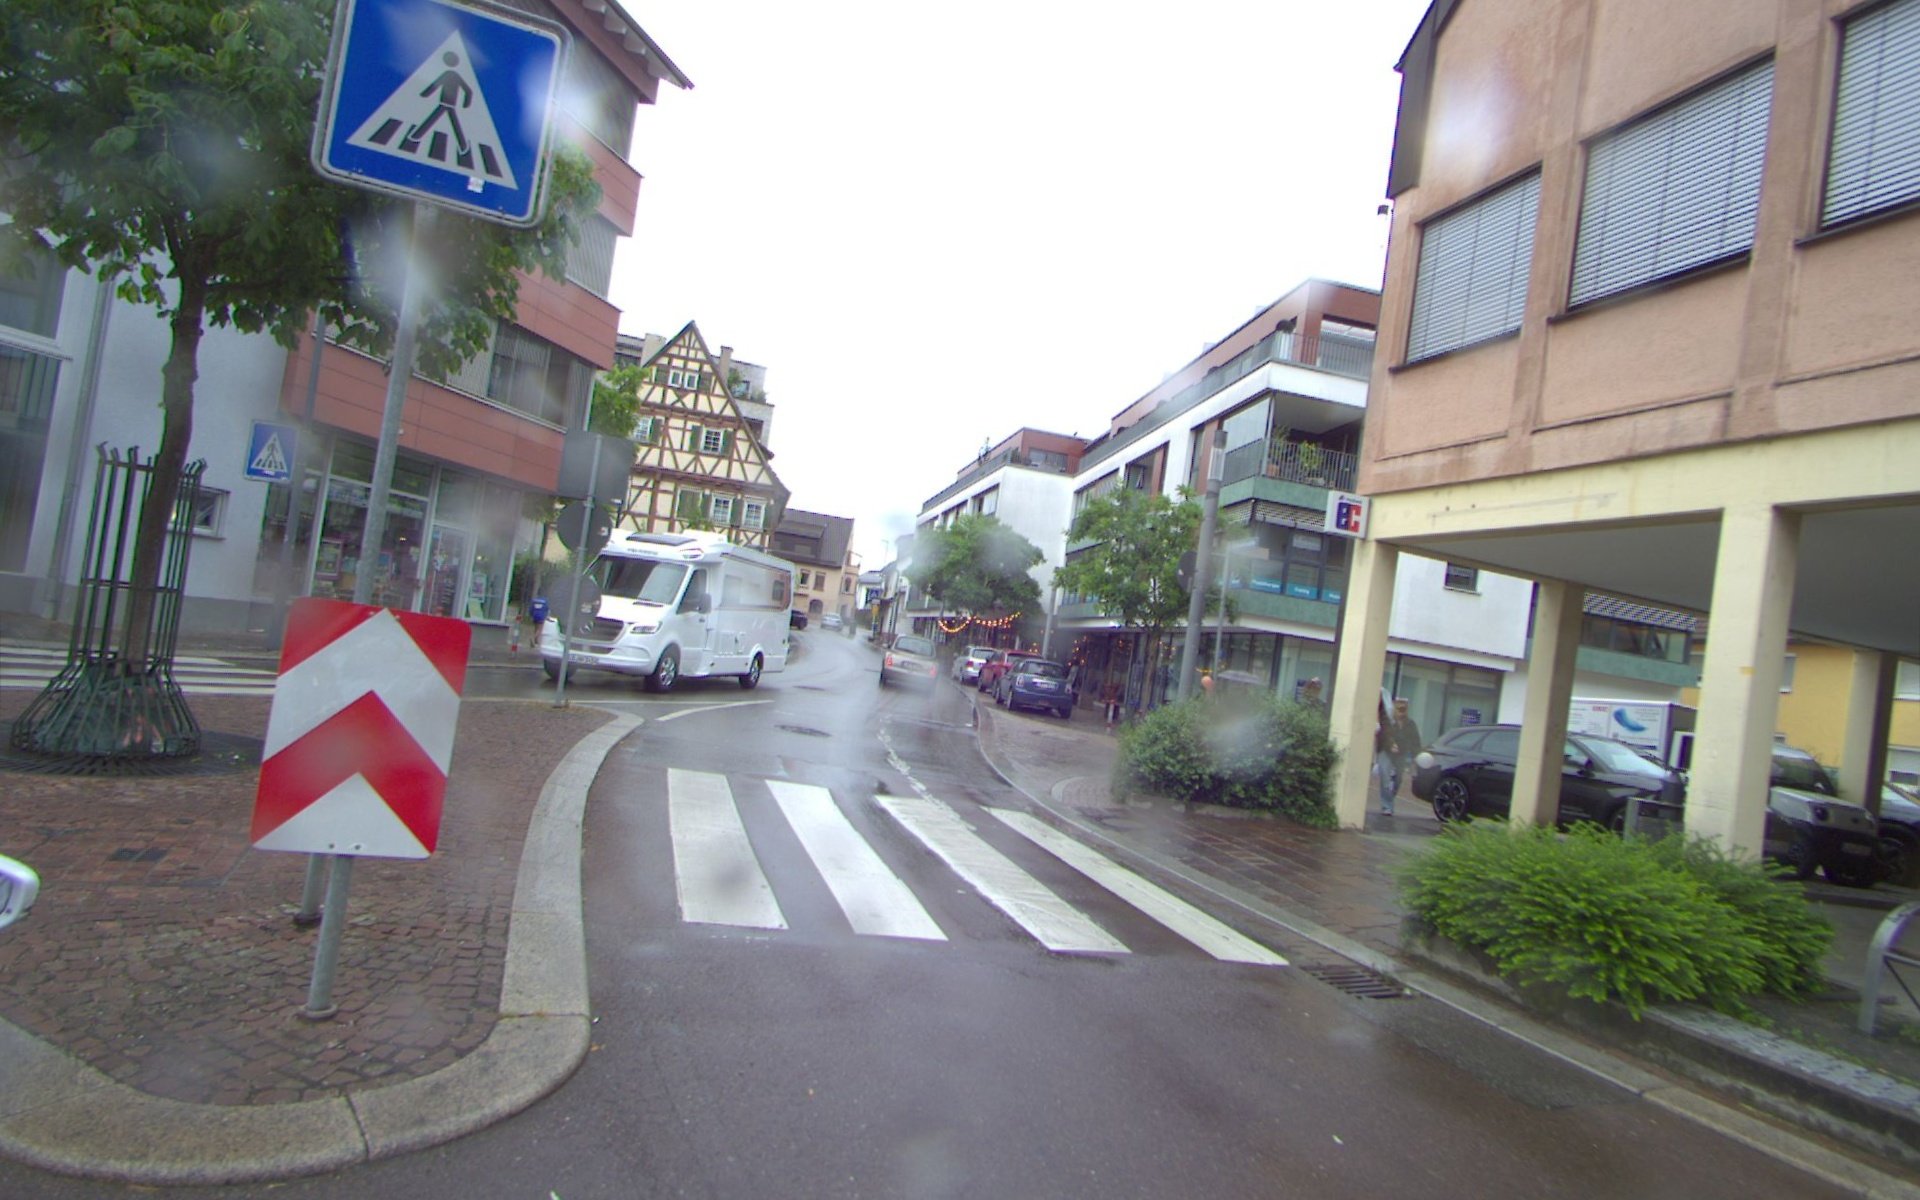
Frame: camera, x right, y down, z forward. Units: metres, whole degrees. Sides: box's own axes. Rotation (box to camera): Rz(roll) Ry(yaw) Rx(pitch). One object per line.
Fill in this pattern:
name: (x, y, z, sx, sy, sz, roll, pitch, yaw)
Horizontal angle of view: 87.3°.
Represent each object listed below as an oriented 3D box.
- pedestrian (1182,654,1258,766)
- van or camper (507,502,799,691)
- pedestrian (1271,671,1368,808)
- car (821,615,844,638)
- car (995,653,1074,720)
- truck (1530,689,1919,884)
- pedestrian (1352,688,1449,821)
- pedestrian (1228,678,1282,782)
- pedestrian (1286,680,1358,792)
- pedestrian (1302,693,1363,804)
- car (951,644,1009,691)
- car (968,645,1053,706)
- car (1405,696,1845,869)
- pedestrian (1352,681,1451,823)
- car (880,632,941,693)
pedestrian: (4.470, 1.874, 17.354, 0.725, 1.768, 0.890, 8, -2, -16)
van or camper: (-5.209, 0.163, 18.604, 2.399, 2.614, 6.762, 6, -3, 7)
pedestrian: (4.845, 1.869, 13.582, 0.689, 1.680, 0.817, 8, -2, -22)
car: (-11.133, 2.289, 87.672, 1.652, 1.731, 3.319, 8, -3, -9)
car: (1.974, 2.315, 27.465, 1.514, 1.378, 3.371, 7, 0, -4)
truck: (10.229, 2.388, 13.726, 1.743, 1.828, 3.988, 8, -3, -18)
pedestrian: (6.126, 2.124, 14.028, 0.949, 1.657, 0.735, 7, -2, 15)
pedestrian: (5.098, 2.241, 17.398, 0.533, 1.682, 0.520, 8, -2, -14)
pedestrian: (6.016, 2.242, 16.737, 0.626, 1.708, 0.741, 8, -2, -15)
pedestrian: (5.496, 2.180, 14.850, 0.491, 1.526, 0.489, 8, -2, -18)
car: (0.697, 2.518, 38.230, 1.592, 1.430, 3.998, 6, -2, -6)
car: (1.554, 2.394, 32.608, 1.603, 1.517, 3.995, 9, -3, -11)
car: (7.941, 2.124, 12.636, 1.742, 1.290, 4.460, 8, -3, -16)
pedestrian: (5.798, 1.982, 13.226, 0.715, 1.708, 0.730, 8, -2, -20)
car: (-1.434, 1.779, 29.334, 1.500, 1.487, 3.342, 8, -2, -2)
